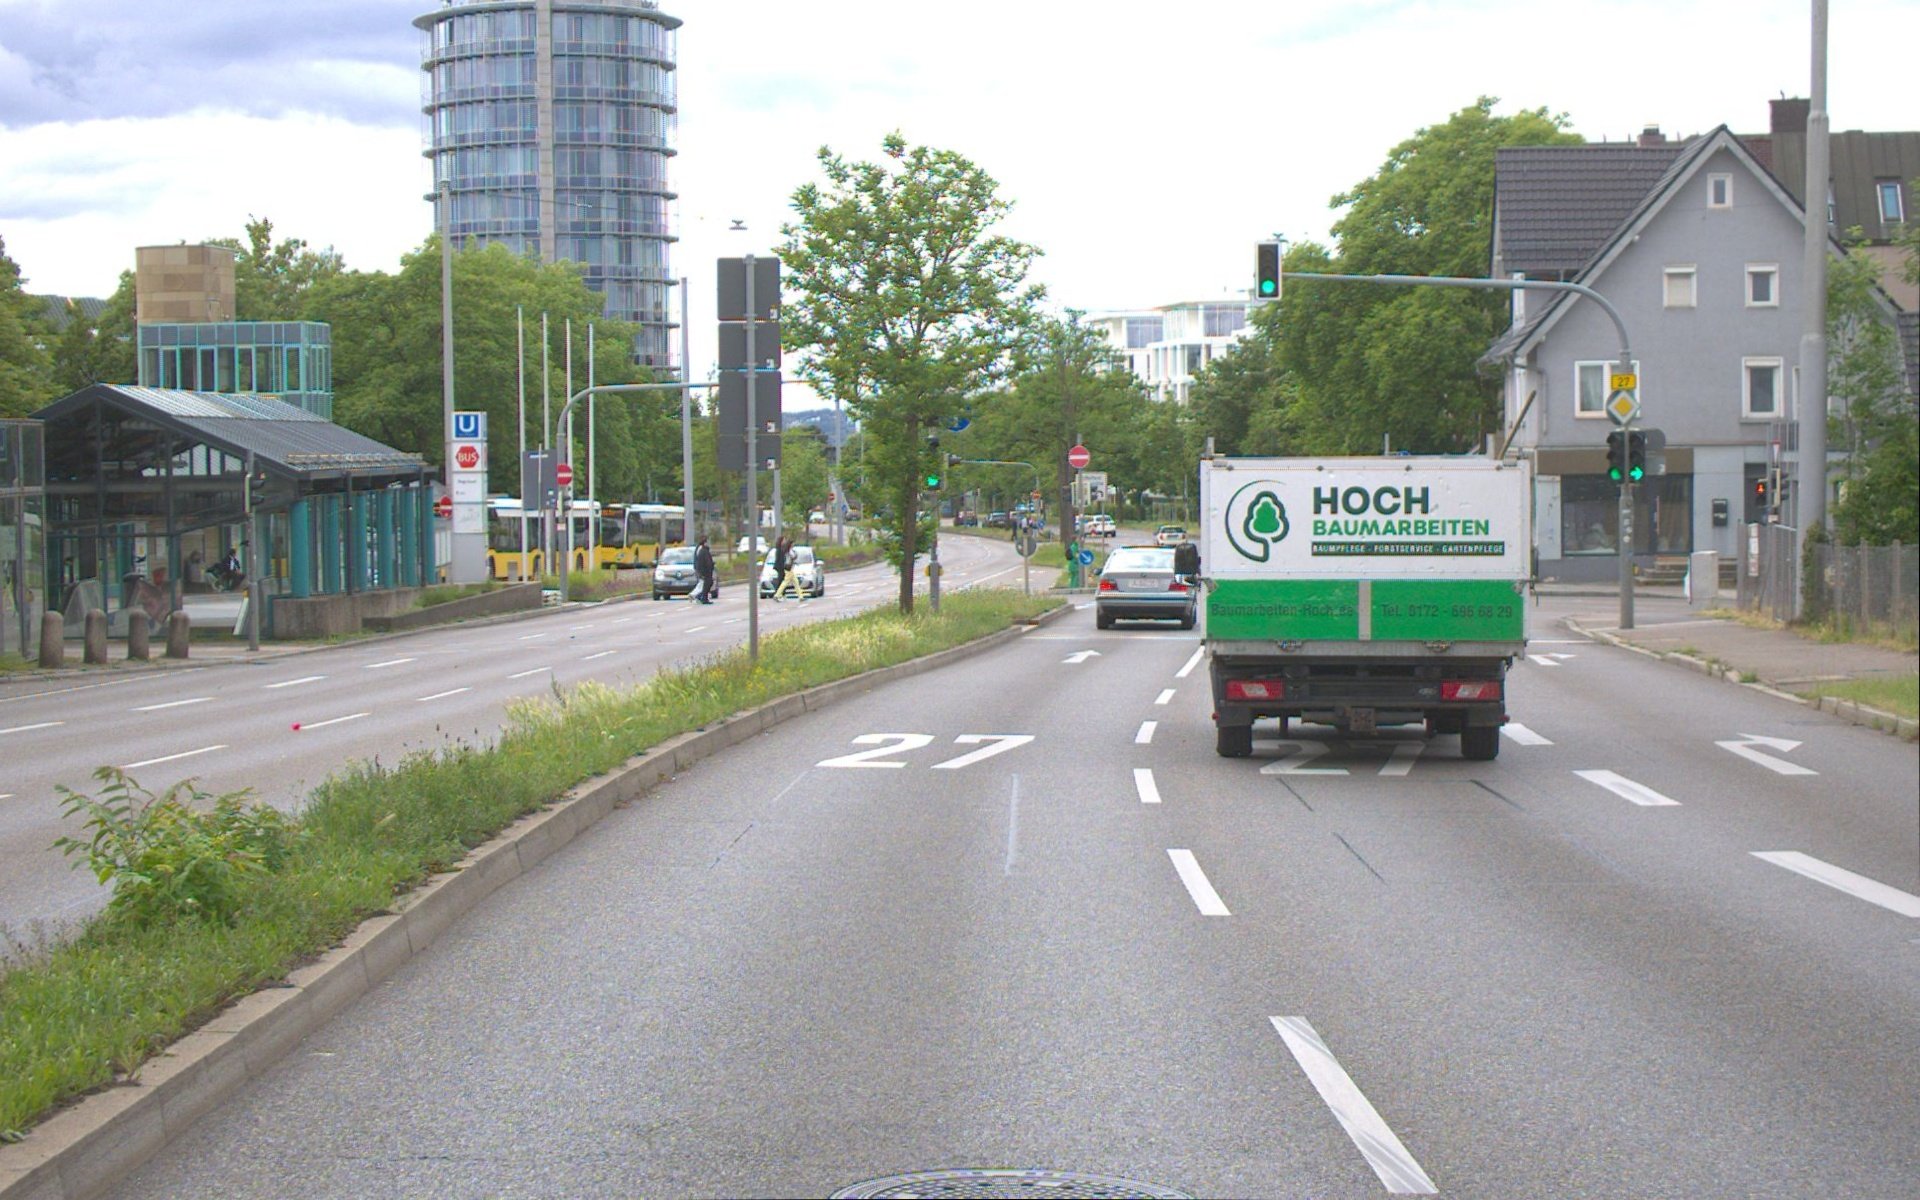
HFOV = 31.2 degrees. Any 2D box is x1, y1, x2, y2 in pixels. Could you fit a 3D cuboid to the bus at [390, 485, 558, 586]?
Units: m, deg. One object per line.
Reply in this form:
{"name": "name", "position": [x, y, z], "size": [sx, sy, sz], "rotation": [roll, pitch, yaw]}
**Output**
{"name": "bus", "position": [-17.356, -2.311, 123.685], "size": [2.833, 3.419, 10.729], "rotation": [-1, 1, 10]}

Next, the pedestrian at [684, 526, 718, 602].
{"name": "pedestrian", "position": [-6.840, -0.954, 90.909], "size": [0.830, 2.007, 0.546], "rotation": [-1, 1, -1]}

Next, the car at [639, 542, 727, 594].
{"name": "car", "position": [-8.138, -0.961, 101.304], "size": [1.994, 1.481, 4.000], "rotation": [-1, 1, 4]}

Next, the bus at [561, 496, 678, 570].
{"name": "bus", "position": [-16.308, -3.213, 165.579], "size": [2.833, 3.419, 10.729], "rotation": [-1, 1, 10]}

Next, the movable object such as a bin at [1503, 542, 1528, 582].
{"name": "movable object such as a bin", "position": [14.725, -1.015, 91.097], "size": [0.604, 1.056, 0.589], "rotation": [1, 1, 7]}

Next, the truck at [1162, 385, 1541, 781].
{"name": "truck", "position": [2.816, -0.238, 26.090], "size": [2.471, 2.602, 6.547], "rotation": [1, 2, 4]}

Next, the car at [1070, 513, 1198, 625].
{"name": "car", "position": [3.006, -0.546, 58.742], "size": [1.994, 1.824, 3.999], "rotation": [1, 1, 5]}

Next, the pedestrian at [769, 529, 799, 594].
{"name": "pedestrian", "position": [-4.672, -1.022, 91.178], "size": [0.745, 1.710, 0.583], "rotation": [-1, 1, -1]}

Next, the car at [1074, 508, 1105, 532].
{"name": "car", "position": [8.459, -5.252, 225.059], "size": [1.993, 1.514, 4.000], "rotation": [-1, 1, 2]}

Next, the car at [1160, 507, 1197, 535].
{"name": "car", "position": [12.500, -4.521, 196.759], "size": [1.993, 1.514, 4.000], "rotation": [-1, 1, 2]}

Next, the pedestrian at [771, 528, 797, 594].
{"name": "pedestrian", "position": [-4.640, -1.025, 90.526], "size": [0.653, 1.710, 0.452], "rotation": [-1, 1, -1]}

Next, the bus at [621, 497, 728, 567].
{"name": "bus", "position": [-14.542, -3.485, 176.186], "size": [2.833, 3.419, 10.729], "rotation": [-1, 1, 10]}

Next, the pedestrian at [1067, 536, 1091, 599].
{"name": "pedestrian", "position": [3.251, -0.884, 93.909], "size": [0.583, 1.710, 0.546], "rotation": [-1, 1, -1]}

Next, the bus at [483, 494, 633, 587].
{"name": "bus", "position": [-15.516, -2.318, 133.604], "size": [2.833, 3.419, 10.729], "rotation": [-1, 1, 10]}

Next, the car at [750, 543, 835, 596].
{"name": "car", "position": [-4.869, -0.898, 100.610], "size": [1.994, 1.481, 4.000], "rotation": [-1, 1, 4]}

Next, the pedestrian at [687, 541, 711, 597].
{"name": "pedestrian", "position": [-6.960, -0.836, 91.655], "size": [0.543, 1.491, 0.486], "rotation": [-1, 1, 2]}

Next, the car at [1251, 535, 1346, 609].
{"name": "car", "position": [7.352, -0.640, 74.886], "size": [1.994, 1.546, 3.999], "rotation": [1, 1, 5]}
